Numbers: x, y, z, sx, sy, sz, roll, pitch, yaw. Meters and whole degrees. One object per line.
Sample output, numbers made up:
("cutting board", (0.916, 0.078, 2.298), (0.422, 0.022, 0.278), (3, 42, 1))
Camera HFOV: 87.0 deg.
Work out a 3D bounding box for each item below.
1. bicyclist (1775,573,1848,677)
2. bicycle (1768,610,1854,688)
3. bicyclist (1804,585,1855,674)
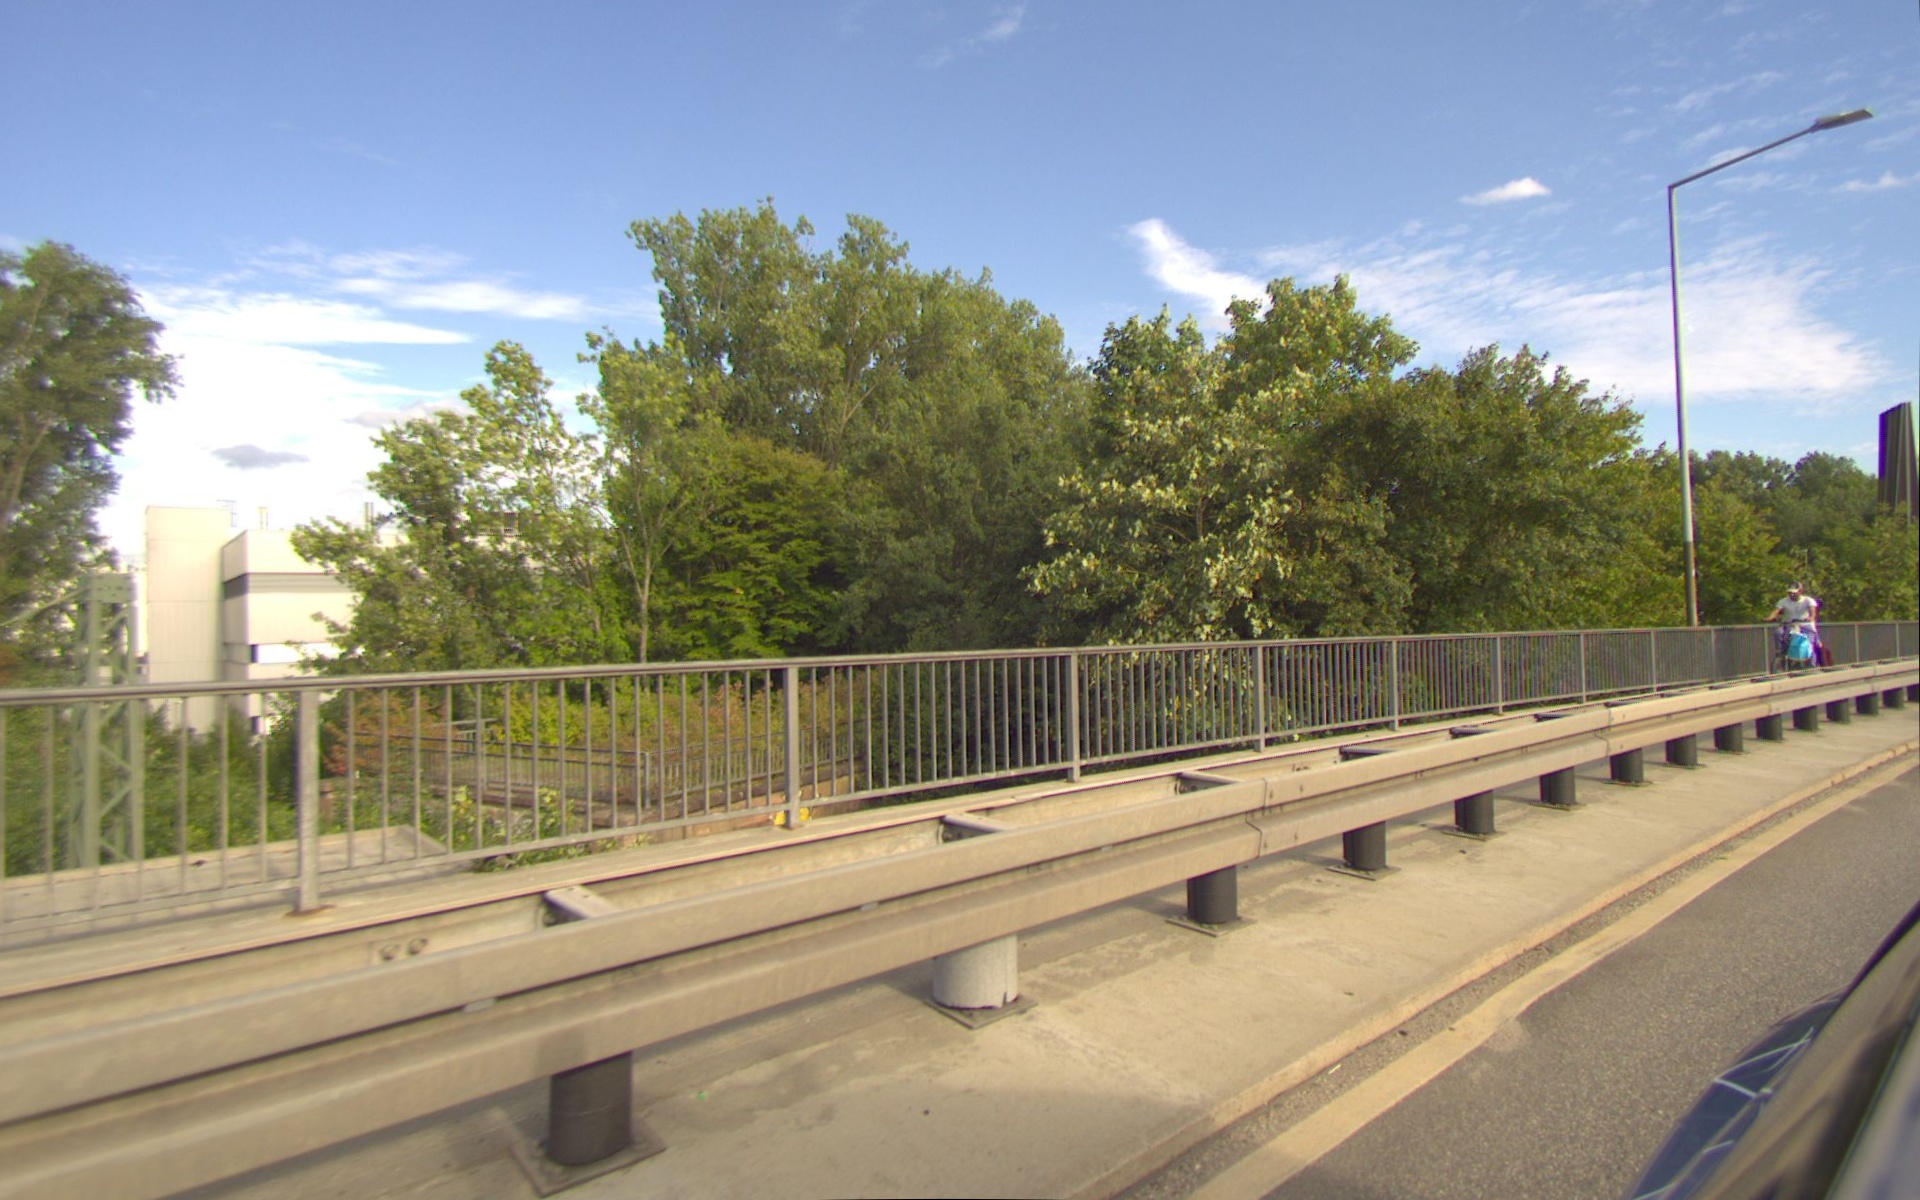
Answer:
("bicyclist", (13.419, 0.373, 15.950), (0.739, 1.576, 0.710), (0, 0, -33))
("bicycle", (13.417, 0.745, 15.945), (1.664, 1.134, 0.598), (0, 0, -34))
("bicyclist", (13.901, 0.454, 16.183), (0.528, 1.389, 0.501), (0, 0, -33))
